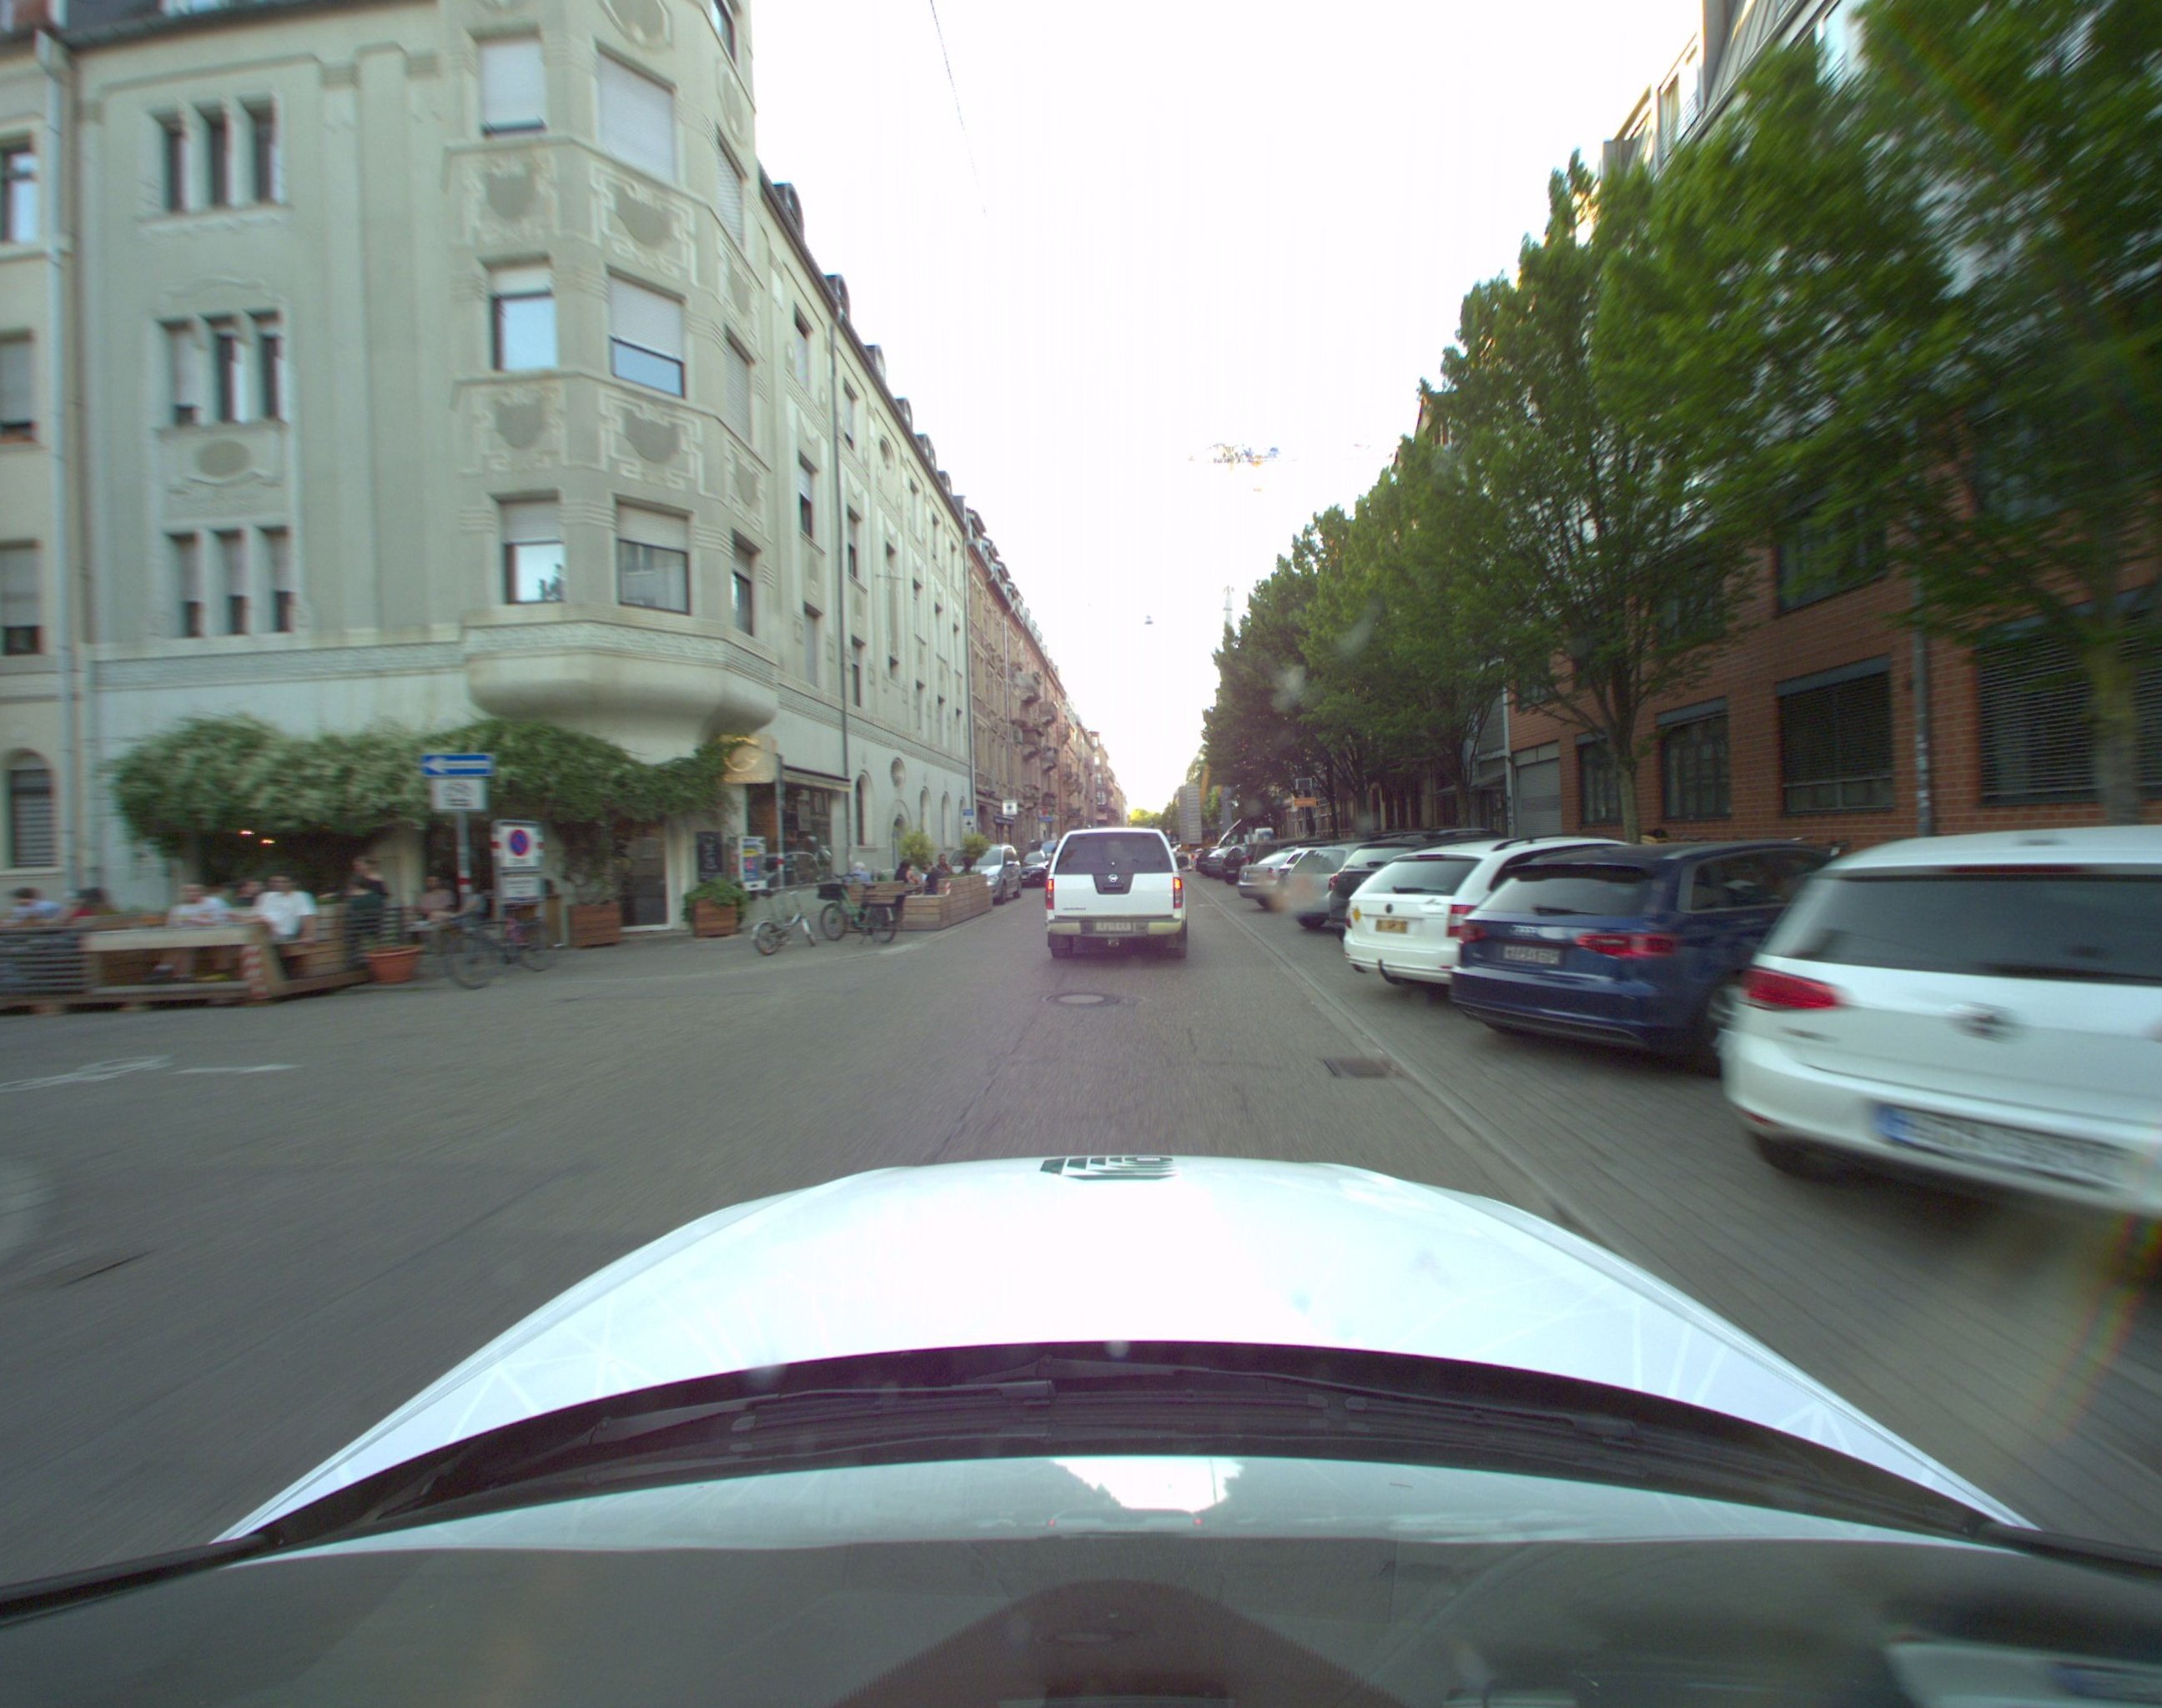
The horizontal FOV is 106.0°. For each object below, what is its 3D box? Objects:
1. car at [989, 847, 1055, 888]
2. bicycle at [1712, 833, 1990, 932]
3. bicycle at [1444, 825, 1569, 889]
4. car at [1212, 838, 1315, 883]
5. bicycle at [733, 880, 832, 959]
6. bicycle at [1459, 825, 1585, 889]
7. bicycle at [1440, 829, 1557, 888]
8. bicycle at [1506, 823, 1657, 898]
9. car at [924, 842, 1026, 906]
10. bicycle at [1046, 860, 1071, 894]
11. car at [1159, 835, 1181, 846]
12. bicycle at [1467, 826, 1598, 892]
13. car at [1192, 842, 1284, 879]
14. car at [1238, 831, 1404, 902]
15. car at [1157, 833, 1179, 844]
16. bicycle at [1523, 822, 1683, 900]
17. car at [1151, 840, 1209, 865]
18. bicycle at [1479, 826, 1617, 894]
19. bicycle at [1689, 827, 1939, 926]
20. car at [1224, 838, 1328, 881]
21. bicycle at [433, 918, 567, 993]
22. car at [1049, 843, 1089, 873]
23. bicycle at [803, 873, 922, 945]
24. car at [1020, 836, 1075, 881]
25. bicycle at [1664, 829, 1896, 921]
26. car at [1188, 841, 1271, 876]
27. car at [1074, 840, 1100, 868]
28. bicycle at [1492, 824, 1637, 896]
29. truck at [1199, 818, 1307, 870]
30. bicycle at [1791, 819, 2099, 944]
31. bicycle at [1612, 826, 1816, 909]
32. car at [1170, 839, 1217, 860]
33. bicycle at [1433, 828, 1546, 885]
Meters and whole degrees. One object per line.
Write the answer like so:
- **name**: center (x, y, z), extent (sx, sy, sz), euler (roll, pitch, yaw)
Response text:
- **car**: center (-2.255, 0.482, 32.275), extent (1.903, 1.472, 4.540), euler (-1, 0, 5)
- **bicycle**: center (9.360, 0.342, 9.984), extent (2.521, 0.959, 0.681), euler (-5, 0, 7)
- **bicycle**: center (10.295, 0.071, 19.776), extent (2.521, 1.244, 0.600), euler (-7, 0, 7)
- **car**: center (6.894, 0.216, 30.699), extent (3.415, 1.474, 1.759), euler (-4, 2, -27)
- **bicycle**: center (-4.552, 0.971, 12.538), extent (0.420, 1.012, 1.727), euler (-1, 2, 18)
- **bicycle**: center (10.247, 0.075, 18.982), extent (2.521, 1.379, 0.600), euler (-2, 0, 7)
- **bicycle**: center (10.397, 0.107, 20.353), extent (2.521, 1.379, 0.600), euler (-2, 0, 7)
- **bicycle**: center (9.912, 0.130, 16.195), extent (2.521, 1.379, 0.600), euler (-2, 0, 7)
- **car**: center (-2.896, 0.509, 23.268), extent (1.984, 1.591, 4.319), euler (-2, 0, 4)
- **bicycle**: center (-0.738, 0.760, 27.669), extent (0.612, 1.040, 1.906), euler (-2, 0, 5)
- **car**: center (18.987, -2.911, 173.133), extent (4.563, 2.177, 1.823), euler (-1, 0, 7)
- **bicycle**: center (10.125, 0.113, 18.320), extent (2.521, 1.379, 0.600), euler (-2, 0, 7)
- **car**: center (7.079, 0.269, 36.701), extent (3.849, 1.436, 1.746), euler (-3, 1, -30)
- **car**: center (6.505, 0.308, 22.170), extent (3.994, 1.636, 1.749), euler (-3, 1, -15)
- **car**: center (18.106, -3.196, 169.252), extent (4.563, 2.177, 1.823), euler (-1, 0, 7)
- **bicycle**: center (9.877, 0.135, 15.481), extent (2.521, 1.379, 0.600), euler (-2, 0, 7)
- **car**: center (7.453, -0.150, 60.941), extent (4.169, 1.780, 1.825), euler (-1, 0, 10)
- **bicycle**: center (10.063, 0.131, 17.602), extent (2.521, 1.379, 0.600), euler (-2, 0, 7)
- **bicycle**: center (9.423, 0.290, 10.542), extent (2.521, 1.166, 0.563), euler (-2, 0, 7)
- **car**: center (8.080, 0.212, 33.760), extent (3.839, 1.530, 1.750), euler (-3, 0, -21)
- **bicycle**: center (-7.700, 1.314, 10.887), extent (0.421, 0.695, 1.781), euler (-2, 2, 2)
- **car**: center (-0.672, 0.194, 49.157), extent (1.895, 1.663, 4.075), euler (-2, 0, 6)
- **bicycle**: center (-3.600, 0.870, 13.358), extent (2.090, 1.094, 0.504), euler (-1, 2, 29)
- **car**: center (-1.473, 0.160, 38.121), extent (1.895, 1.925, 4.954), euler (-1, 0, 5)
- **bicycle**: center (9.569, 0.288, 11.213), extent (2.521, 1.166, 0.563), euler (-2, 0, 7)
- **car**: center (7.202, 0.193, 39.374), extent (3.910, 1.530, 1.620), euler (-1, 0, -35)
- **car**: center (0.448, -0.038, 57.625), extent (1.552, 1.921, 3.861), euler (0, 1, 4)
- **bicycle**: center (9.986, 0.122, 16.890), extent (2.521, 1.379, 0.600), euler (-2, 0, 7)
- **truck**: center (10.504, -0.546, 50.117), extent (6.288, 2.977, 2.268), euler (-1, -2, 6)
- **bicycle**: center (9.233, 0.291, 8.784), extent (2.334, 1.099, 0.681), euler (-5, 0, 7)
- **bicycle**: center (9.648, 0.213, 12.481), extent (2.521, 1.166, 0.563), euler (-2, 0, 7)
- **car**: center (10.224, -0.423, 74.352), extent (4.172, 1.780, 1.823), euler (-1, 0, 7)
- **bicycle**: center (10.540, 0.060, 21.079), extent (2.521, 1.379, 0.600), euler (-2, 0, 7)
